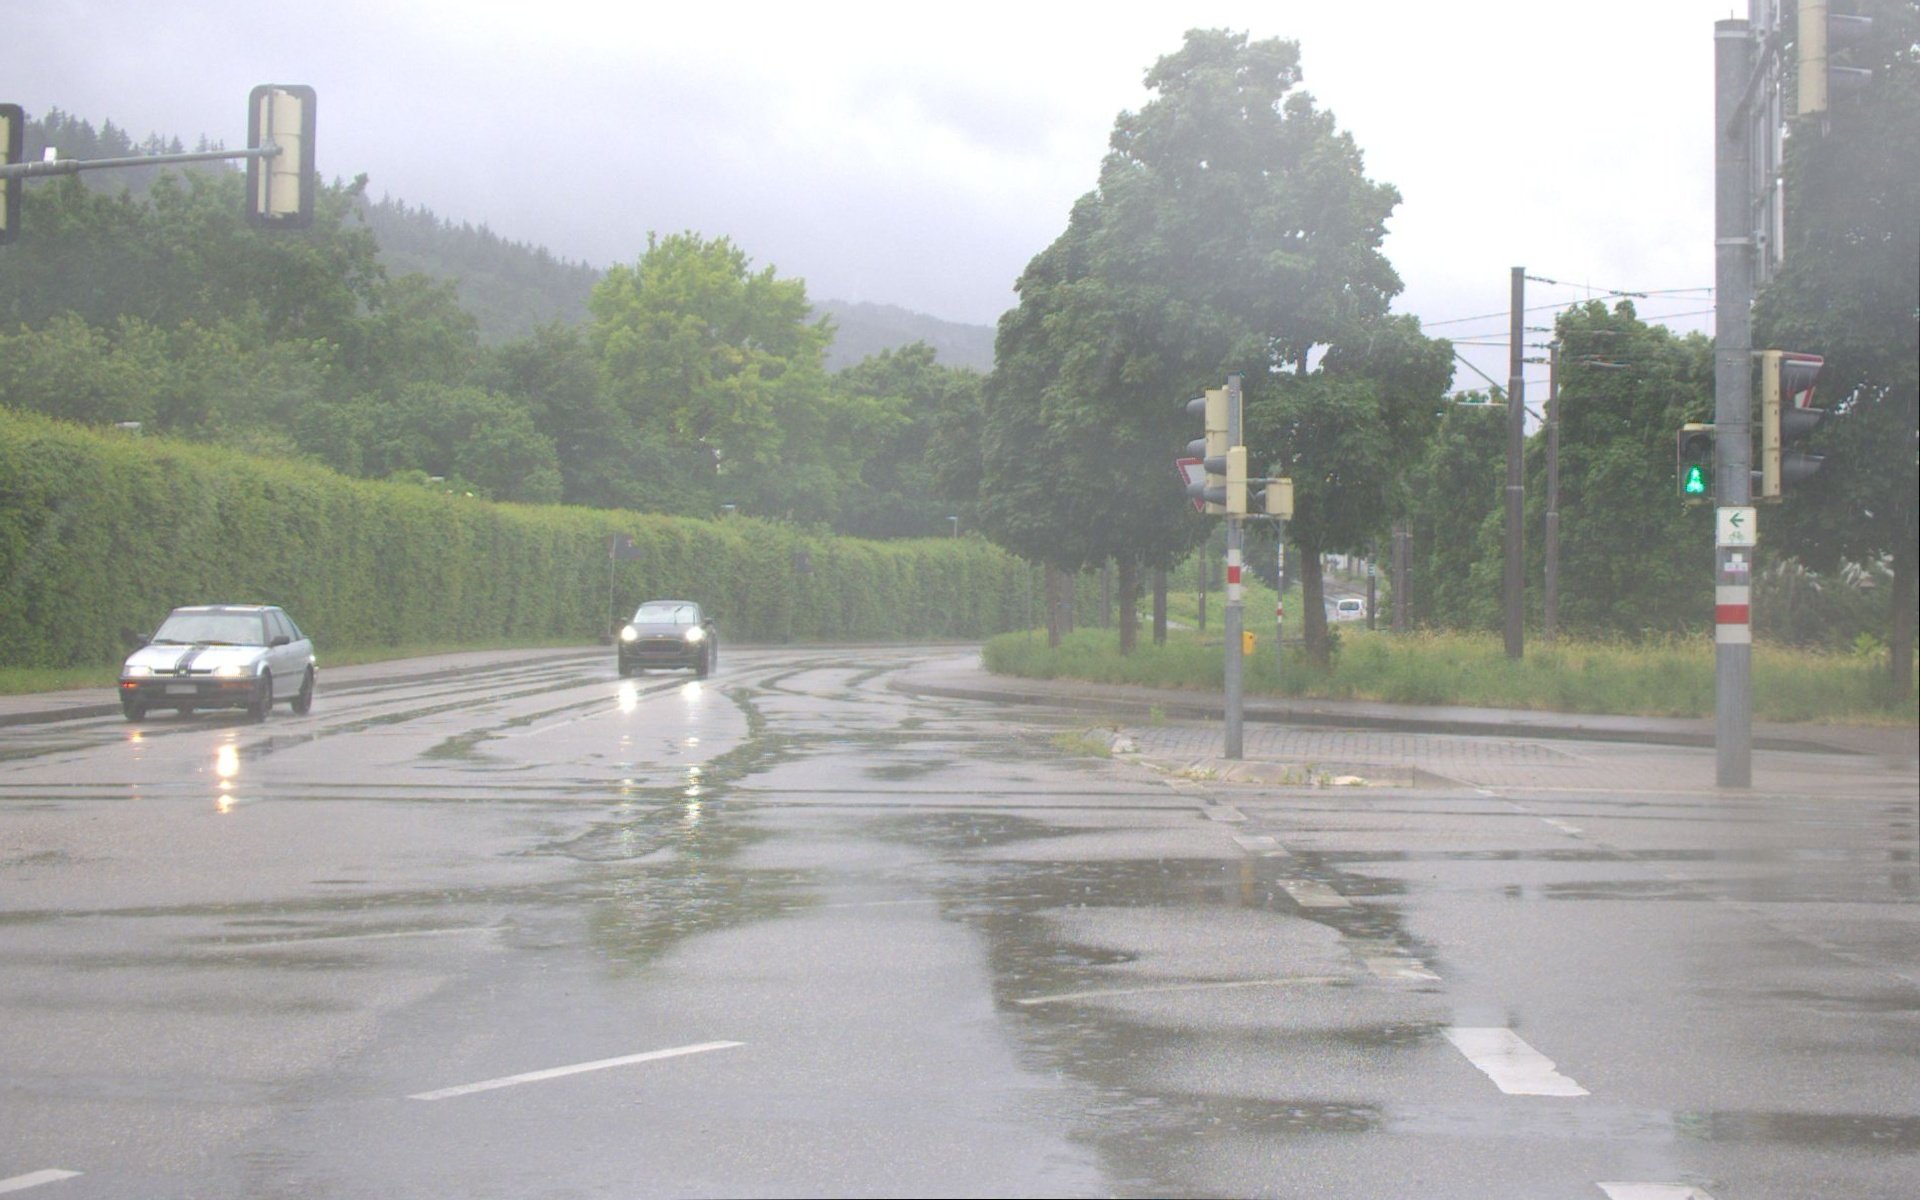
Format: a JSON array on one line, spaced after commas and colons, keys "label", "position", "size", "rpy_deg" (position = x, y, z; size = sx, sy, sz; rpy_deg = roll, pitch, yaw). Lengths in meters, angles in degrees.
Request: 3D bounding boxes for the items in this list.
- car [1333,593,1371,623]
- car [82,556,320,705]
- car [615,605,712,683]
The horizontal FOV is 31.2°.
[{"label": "car", "position": [25.584, 0.510, 224.307], "size": [1.954, 1.897, 4.117], "rpy_deg": [0, 0, 13]}, {"label": "car", "position": [-9.224, 0.326, 42.110], "size": [2.036, 1.702, 4.066], "rpy_deg": [1, 1, -1]}, {"label": "car", "position": [-6.043, 0.874, 70.481], "size": [1.784, 1.499, 4.061], "rpy_deg": [0, 1, -2]}]
